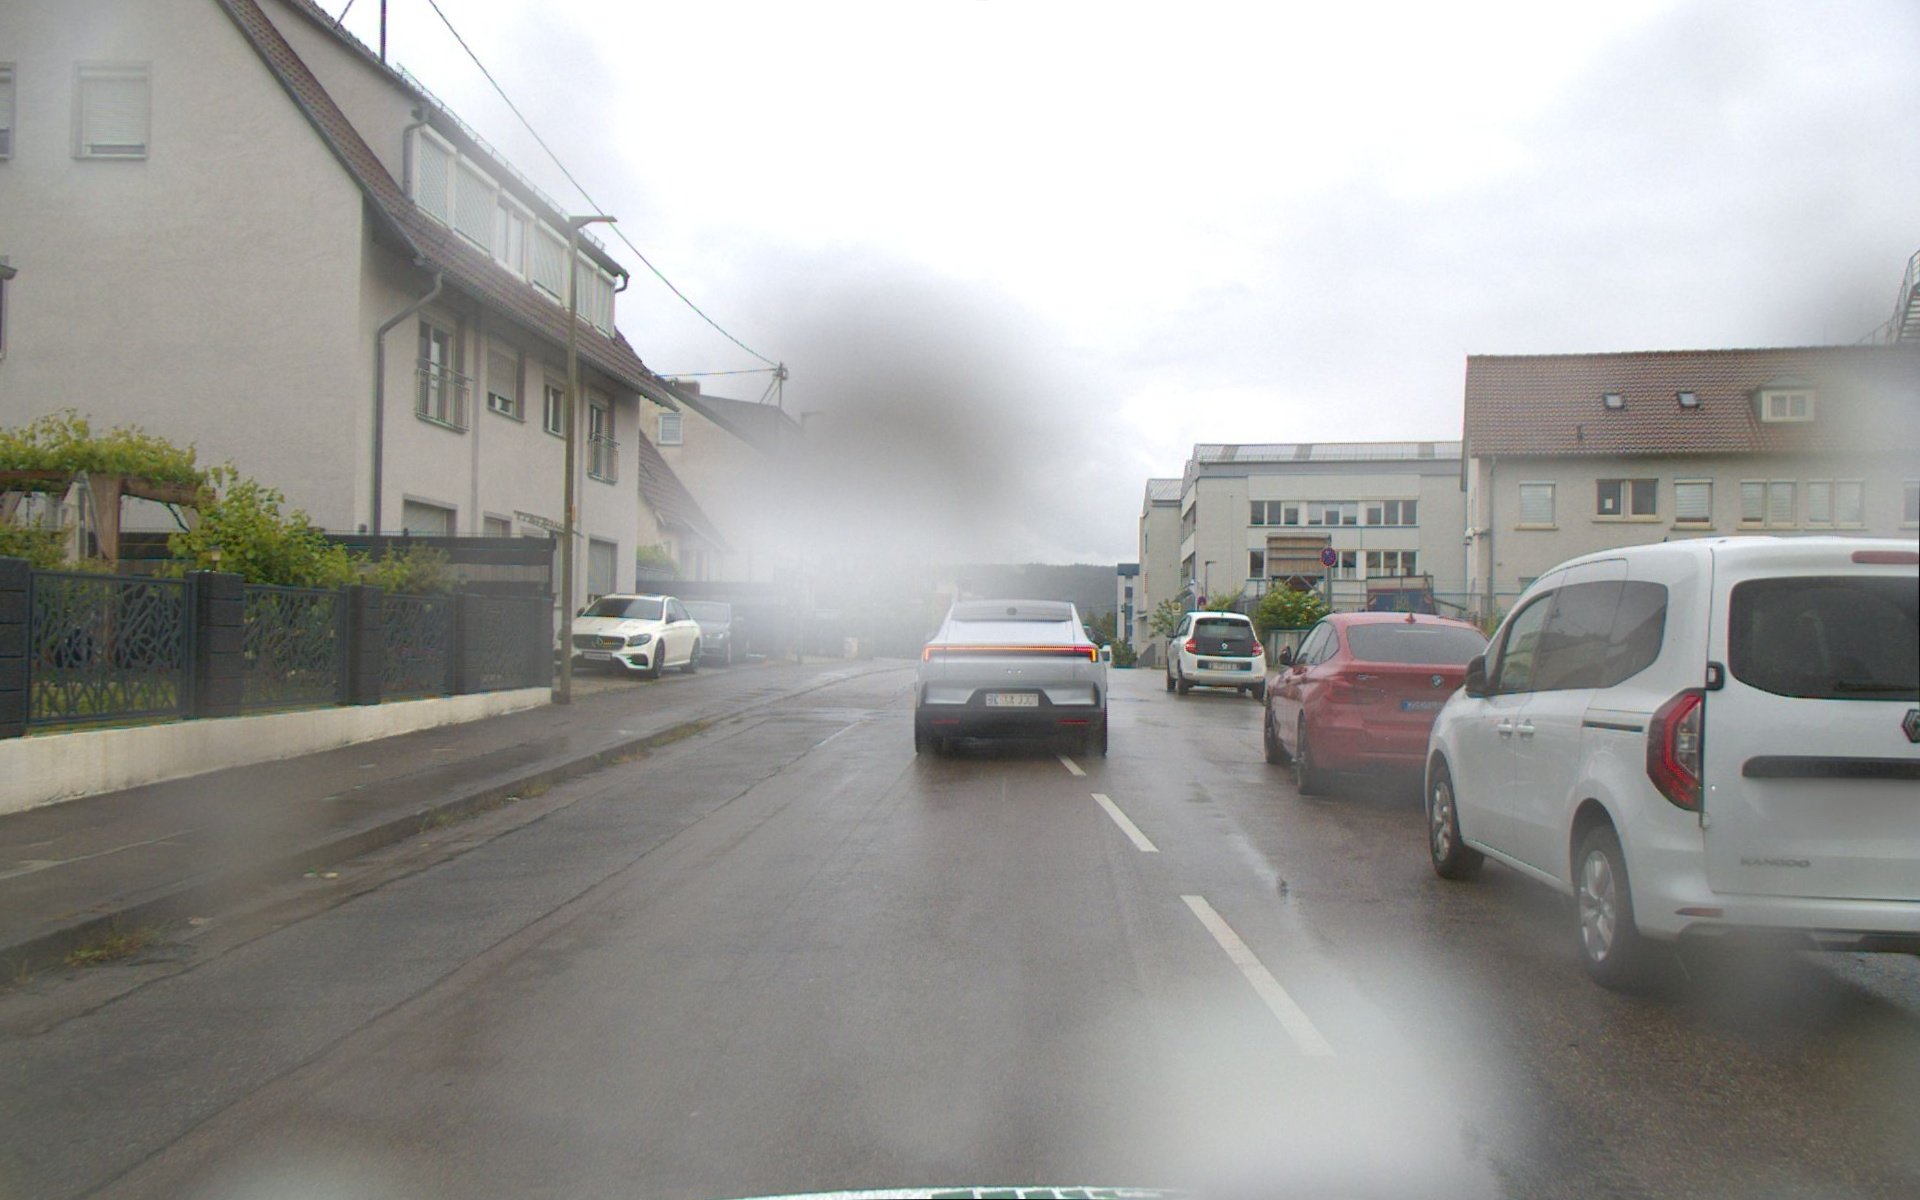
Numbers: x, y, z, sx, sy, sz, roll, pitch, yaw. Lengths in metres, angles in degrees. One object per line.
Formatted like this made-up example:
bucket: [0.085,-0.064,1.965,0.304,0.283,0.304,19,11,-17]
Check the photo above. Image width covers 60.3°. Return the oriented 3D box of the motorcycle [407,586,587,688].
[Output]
motorcycle: [-6.660,0.527,23.856,2.313,1.295,0.736,3,0,4]

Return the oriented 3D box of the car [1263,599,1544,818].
car: [3.771,0.819,14.827,1.608,1.602,4.646,2,0,5]

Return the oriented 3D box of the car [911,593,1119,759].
car: [0.724,0.718,17.997,1.951,1.528,4.672,1,0,5]

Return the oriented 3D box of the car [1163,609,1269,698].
car: [4.949,1.000,32.318,1.646,1.584,3.676,2,0,3]

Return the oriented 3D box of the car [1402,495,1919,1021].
car: [3.581,0.577,8.195,1.732,1.857,4.576,2,0,3]

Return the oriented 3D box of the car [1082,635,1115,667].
car: [9.456,3.526,113.349,1.953,2.049,3.999,0,-4,0]

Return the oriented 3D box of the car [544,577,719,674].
car: [-6.008,0.453,30.885,1.952,1.536,4.897,4,0,3]

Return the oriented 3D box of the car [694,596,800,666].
car: [-4.809,0.663,37.992,1.790,1.392,4.569,4,0,0]
